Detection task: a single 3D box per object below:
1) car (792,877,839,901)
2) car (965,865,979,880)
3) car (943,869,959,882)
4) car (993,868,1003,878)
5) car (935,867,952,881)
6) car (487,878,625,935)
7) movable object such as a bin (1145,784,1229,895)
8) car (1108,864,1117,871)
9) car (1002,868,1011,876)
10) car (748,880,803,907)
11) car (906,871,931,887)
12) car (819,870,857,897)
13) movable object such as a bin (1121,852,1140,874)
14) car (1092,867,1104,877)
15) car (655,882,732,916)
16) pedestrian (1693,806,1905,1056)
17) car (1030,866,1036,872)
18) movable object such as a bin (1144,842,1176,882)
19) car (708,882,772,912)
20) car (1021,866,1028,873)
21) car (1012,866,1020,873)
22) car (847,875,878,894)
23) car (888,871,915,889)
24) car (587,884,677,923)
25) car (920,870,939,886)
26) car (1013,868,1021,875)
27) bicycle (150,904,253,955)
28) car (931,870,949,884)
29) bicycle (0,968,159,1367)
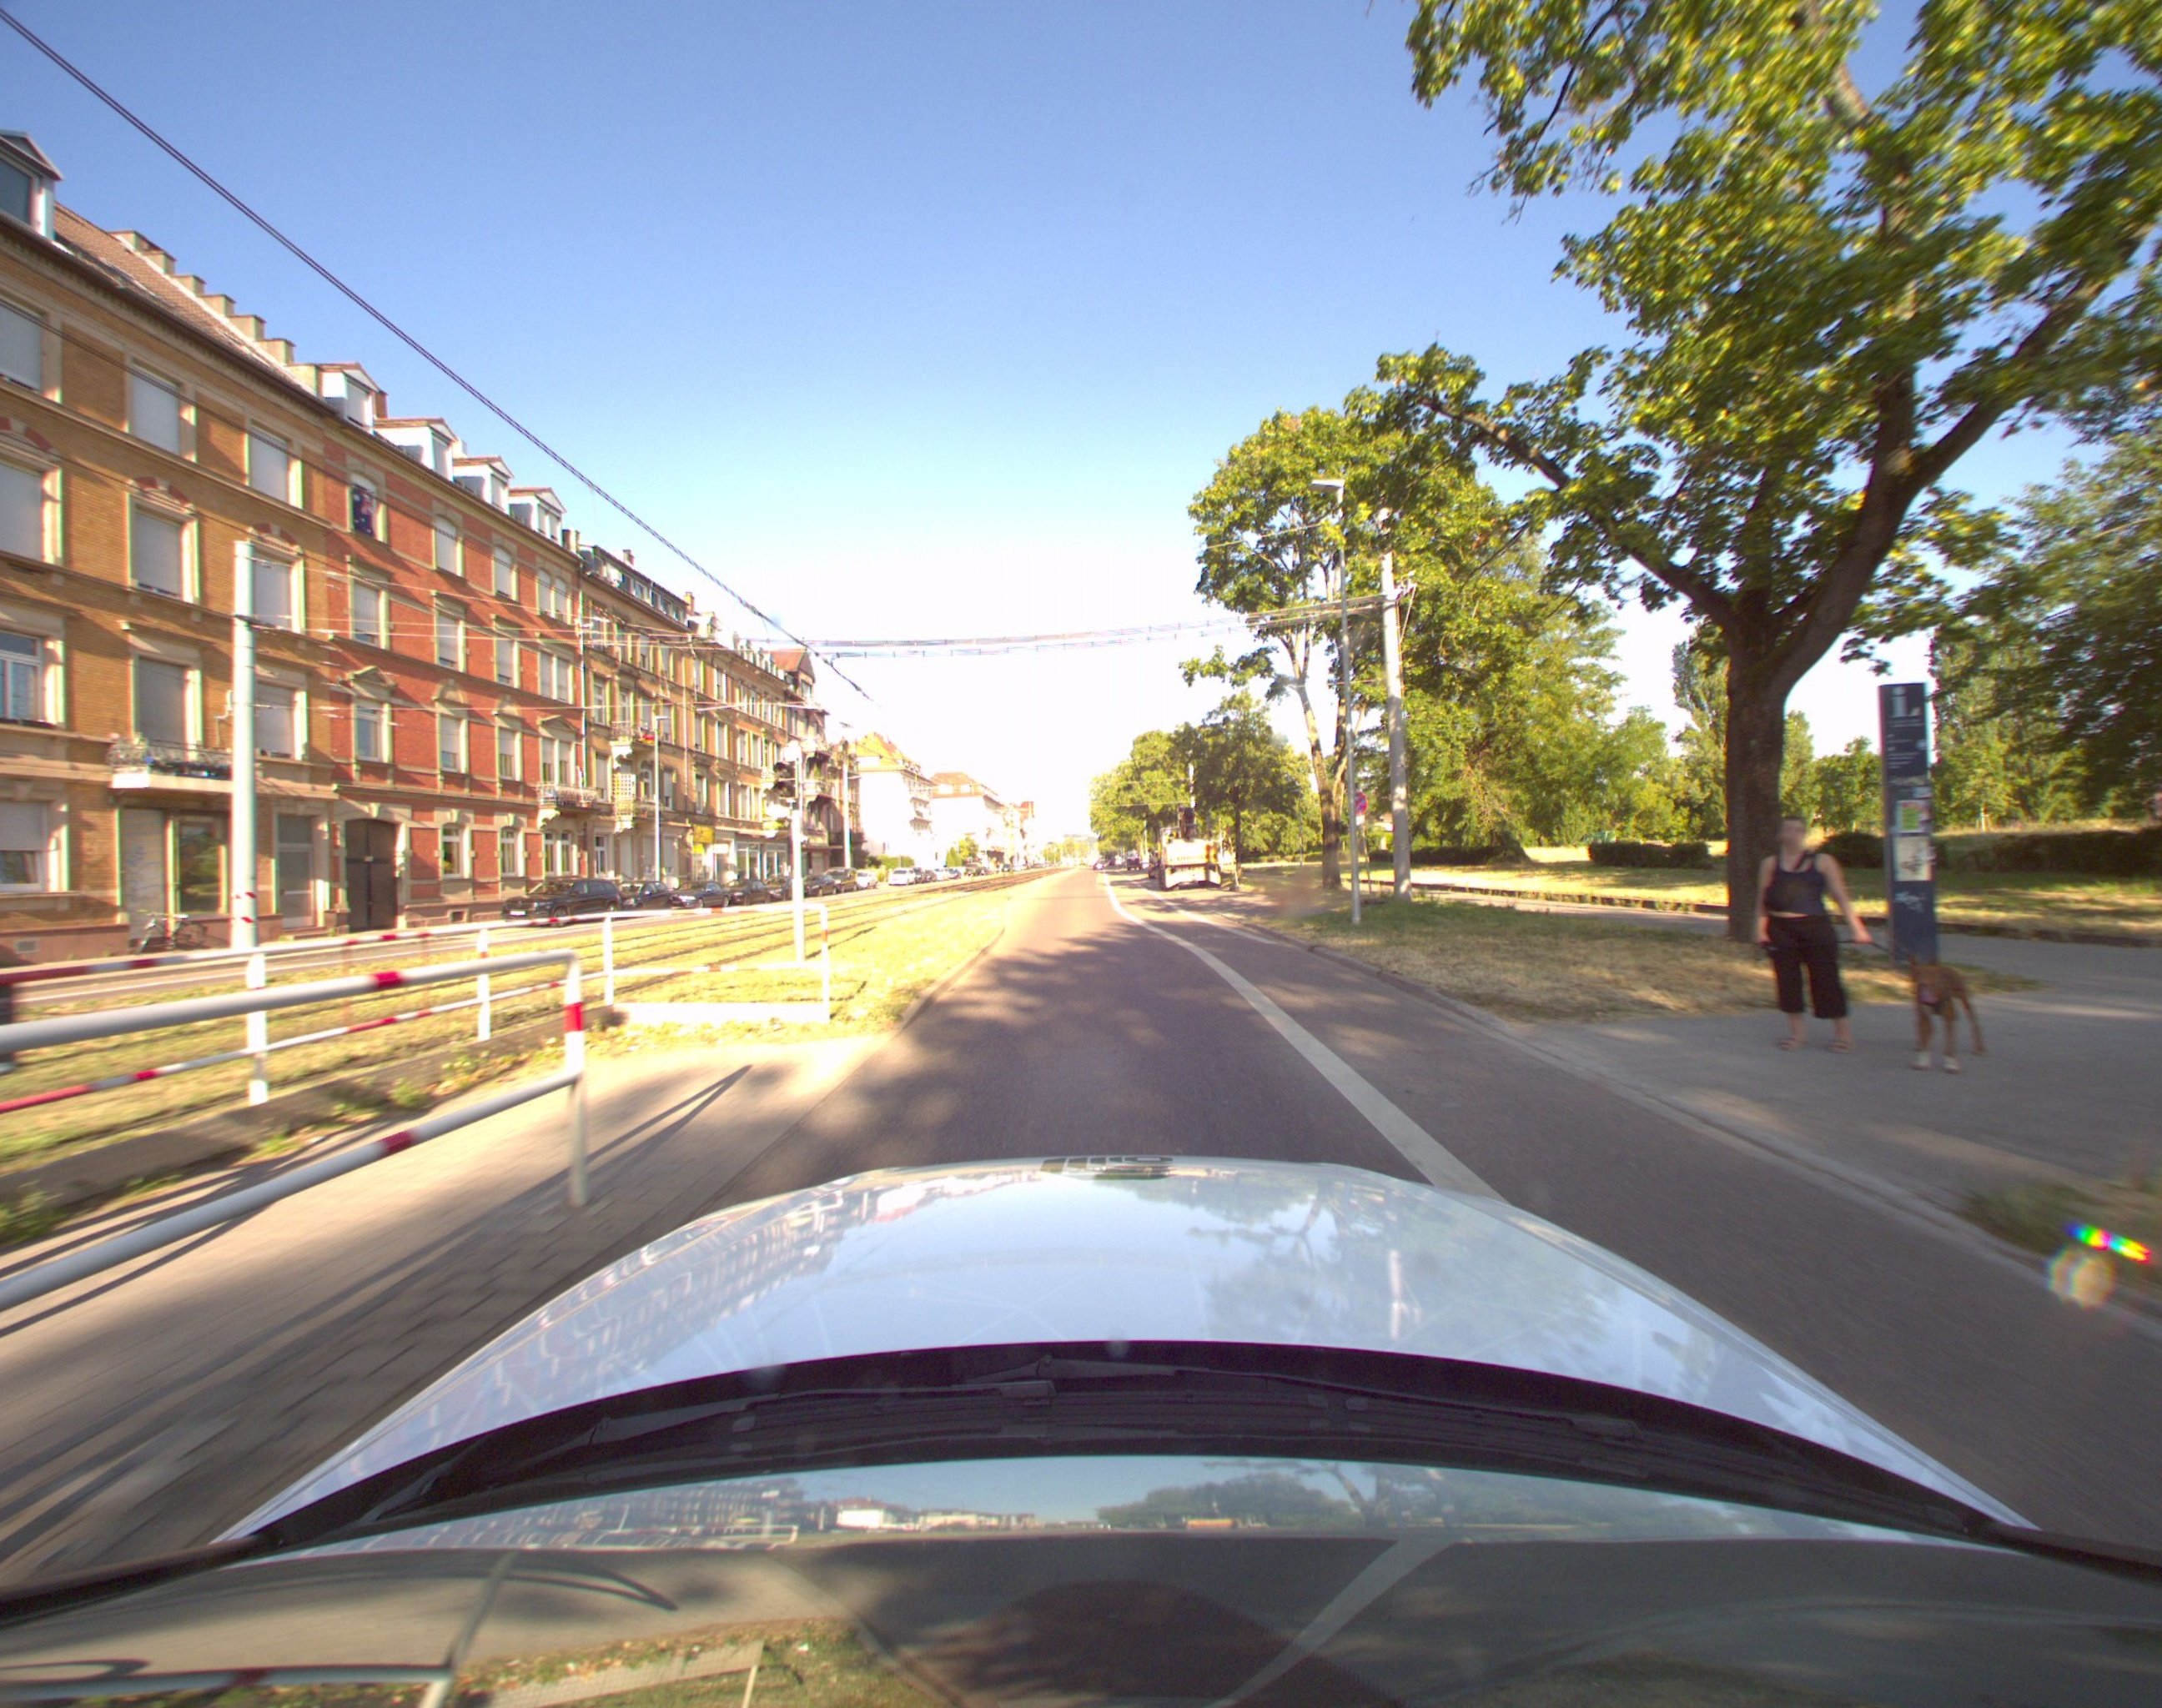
[{"bbox_3d":[-17.681,2.317,54.448,1.770,1.406,3.979,0,0,1],"label":"car"},{"bbox_3d":[-16.733,2.818,124.823,1.652,2.140,3.525,0,0,1],"label":"car"},{"bbox_3d":[-16.824,2.737,105.529,1.521,1.561,3.223,0,0,1],"label":"car"},{"bbox_3d":[-14.814,3.396,145.566,1.521,1.561,3.223,0,0,1],"label":"car"},{"bbox_3d":[-17.004,2.474,100.585,1.521,1.561,3.223,0,0,1],"label":"car"},{"bbox_3d":[-18.912,1.834,29.631,2.008,1.754,4.558,0,0,1],"label":"car"},{"bbox_3d":[5.426,-0.628,43.610,3.077,5.088,8.892,-5,-1,1],"label":"movable object such as a bin"},{"bbox_3d":[8.810,3.738,227.655,1.990,1.860,3.992,0,-1,-5],"label":"car"},{"bbox_3d":[-15.326,3.700,168.363,1.521,1.561,3.223,0,0,1],"label":"car"},{"bbox_3d":[-18.182,2.308,48.639,1.770,1.406,3.909,0,0,1],"label":"car"},{"bbox_3d":[-16.865,2.597,84.550,1.735,1.561,3.768,0,0,1],"label":"car"},{"bbox_3d":[-17.907,2.154,60.074,1.557,1.854,3.900,0,0,1],"label":"car"},{"bbox_3d":[7.294,1.358,120.852,2.459,2.906,4.000,-5,-1,0],"label":"movable object such as a bin"},{"bbox_3d":[2.963,3.126,141.165,1.986,1.684,4.001,0,-1,1],"label":"car"},{"bbox_3d":[-18.570,2.130,39.240,1.770,1.406,3.909,0,0,1],"label":"car"},{"bbox_3d":[5.205,0.527,5.972,0.658,1.647,0.862,-4,-1,1],"label":"pedestrian"},{"bbox_3d":[-13.956,4.273,237.597,1.521,1.610,3.223,0,0,1],"label":"car"},{"bbox_3d":[6.310,0.656,65.653,1.961,3.013,4.796,-5,-1,1],"label":"movable object such as a bin"},{"bbox_3d":[-18.405,2.284,44.121,1.770,1.406,3.909,0,0,1],"label":"car"},{"bbox_3d":[-14.305,3.848,206.561,1.521,1.610,3.223,0,0,1],"label":"car"},{"bbox_3d":[-15.530,3.681,194.164,1.521,1.610,3.223,0,0,1],"label":"car"},{"bbox_3d":[-17.934,2.488,66.953,1.557,1.457,3.665,0,0,1],"label":"car"},{"bbox_3d":[-17.575,2.512,79.798,1.735,1.561,3.768,0,0,1],"label":"car"},{"bbox_3d":[-18.798,2.050,34.267,1.769,1.466,3.531,0,-1,1],"label":"car"},{"bbox_3d":[-16.739,2.639,90.093,1.521,1.561,3.223,0,0,1],"label":"car"},{"bbox_3d":[-14.569,3.914,185.288,1.521,1.561,3.223,0,0,1],"label":"car"},{"bbox_3d":[-22.628,1.914,21.008,0.696,1.180,1.751,0,-1,2],"label":"bicycle"},{"bbox_3d":[-16.768,2.736,96.629,1.521,1.561,3.223,0,0,1],"label":"car"},{"bbox_3d":[-4.072,0.958,2.172,1.963,1.040,0.760,-2,0,-25],"label":"bicycle"}]
